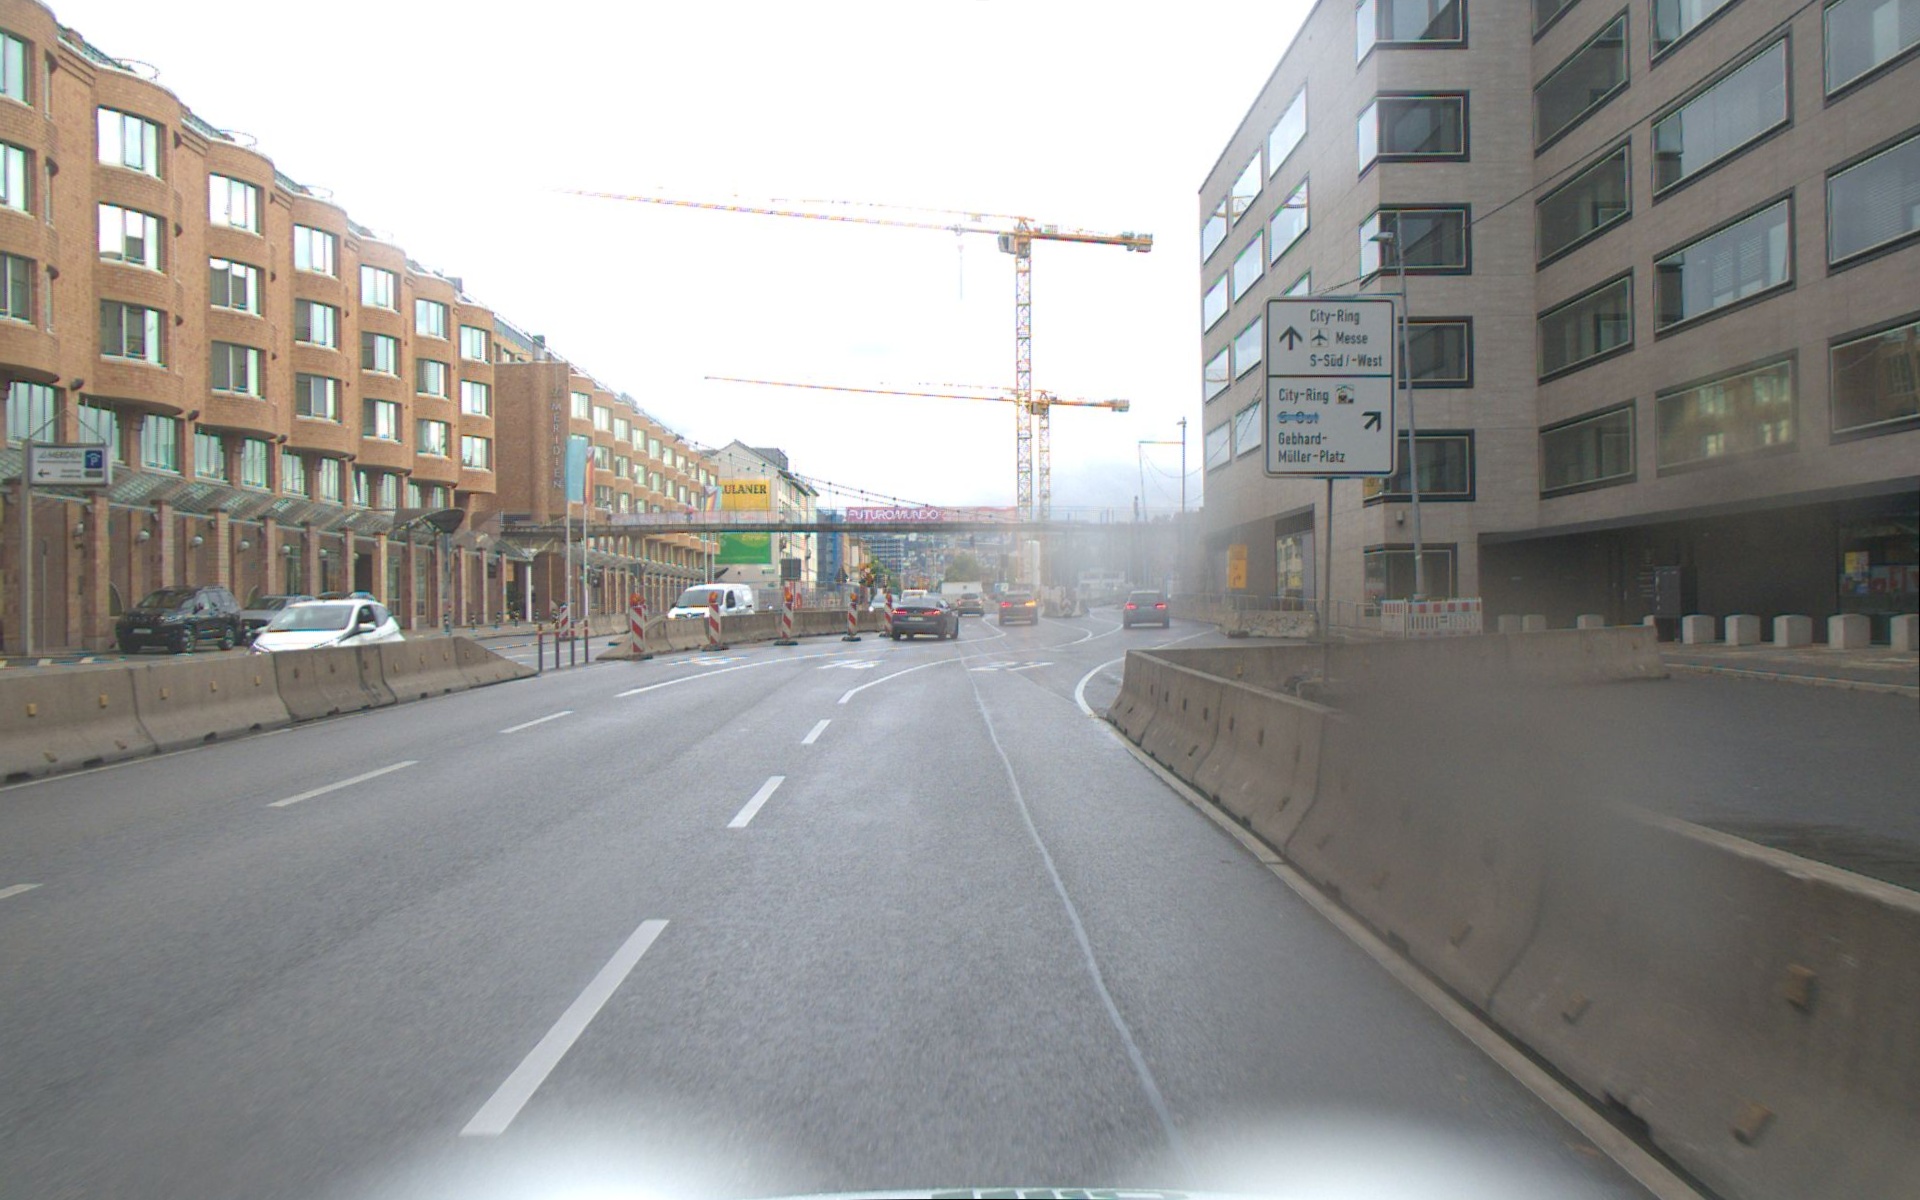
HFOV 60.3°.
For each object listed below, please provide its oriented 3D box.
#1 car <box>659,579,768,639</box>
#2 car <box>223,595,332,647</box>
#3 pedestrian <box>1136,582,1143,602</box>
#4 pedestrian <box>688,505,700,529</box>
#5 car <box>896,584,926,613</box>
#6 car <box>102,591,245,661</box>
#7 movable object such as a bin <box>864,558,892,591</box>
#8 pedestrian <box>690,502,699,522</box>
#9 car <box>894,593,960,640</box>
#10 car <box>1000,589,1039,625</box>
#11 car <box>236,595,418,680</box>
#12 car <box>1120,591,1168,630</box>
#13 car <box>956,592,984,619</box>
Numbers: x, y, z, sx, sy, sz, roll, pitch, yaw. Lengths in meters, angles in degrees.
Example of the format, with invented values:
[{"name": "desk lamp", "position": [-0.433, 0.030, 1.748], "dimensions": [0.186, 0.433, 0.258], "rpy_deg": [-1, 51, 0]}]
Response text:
[{"name": "car", "position": [-7.818, 0.271, 53.024], "dimensions": [1.845, 1.814, 4.881], "rpy_deg": [-1, 0, 12]}, {"name": "car", "position": [-22.982, 0.672, 55.875], "dimensions": [1.954, 1.621, 4.538], "rpy_deg": [-1, 0, -3]}, {"name": "pedestrian", "position": [18.859, -0.850, 173.861], "dimensions": [0.613, 2.049, 0.664], "rpy_deg": [-1, 0, 12]}, {"name": "pedestrian", "position": [-17.021, -5.327, 105.729], "dimensions": [0.607, 1.477, 0.618], "rpy_deg": [-2, 0, 3]}, {"name": "car", "position": [-3.396, -0.110, 115.655], "dimensions": [1.953, 1.918, 4.869], "rpy_deg": [-1, 0, -1]}, {"name": "car", "position": [-22.954, 0.708, 48.511], "dimensions": [1.954, 1.919, 5.011], "rpy_deg": [-1, 0, -3]}, {"name": "movable object such as a bin", "position": [-6.307, -1.939, 127.445], "dimensions": [1.986, 2.317, 4.290], "rpy_deg": [-4, 0, -3]}, {"name": "pedestrian", "position": [-17.017, -5.637, 105.934], "dimensions": [0.465, 1.215, 0.484], "rpy_deg": [-2, 0, 3]}, {"name": "car", "position": [-1.065, 0.510, 55.399], "dimensions": [1.824, 1.468, 4.658], "rpy_deg": [-1, 0, 3]}, {"name": "car", "position": [2.960, 0.308, 81.362], "dimensions": [1.824, 1.689, 4.658], "rpy_deg": [-1, 0, 3]}, {"name": "car", "position": [-10.228, 0.564, 26.979], "dimensions": [1.579, 1.253, 3.726], "rpy_deg": [-1, 0, -1]}, {"name": "car", "position": [7.264, 0.374, 65.359], "dimensions": [1.823, 1.458, 4.660], "rpy_deg": [-1, 0, 6]}, {"name": "car", "position": [0.652, 0.379, 115.408], "dimensions": [1.825, 1.796, 4.655], "rpy_deg": [-1, 0, -1]}]
